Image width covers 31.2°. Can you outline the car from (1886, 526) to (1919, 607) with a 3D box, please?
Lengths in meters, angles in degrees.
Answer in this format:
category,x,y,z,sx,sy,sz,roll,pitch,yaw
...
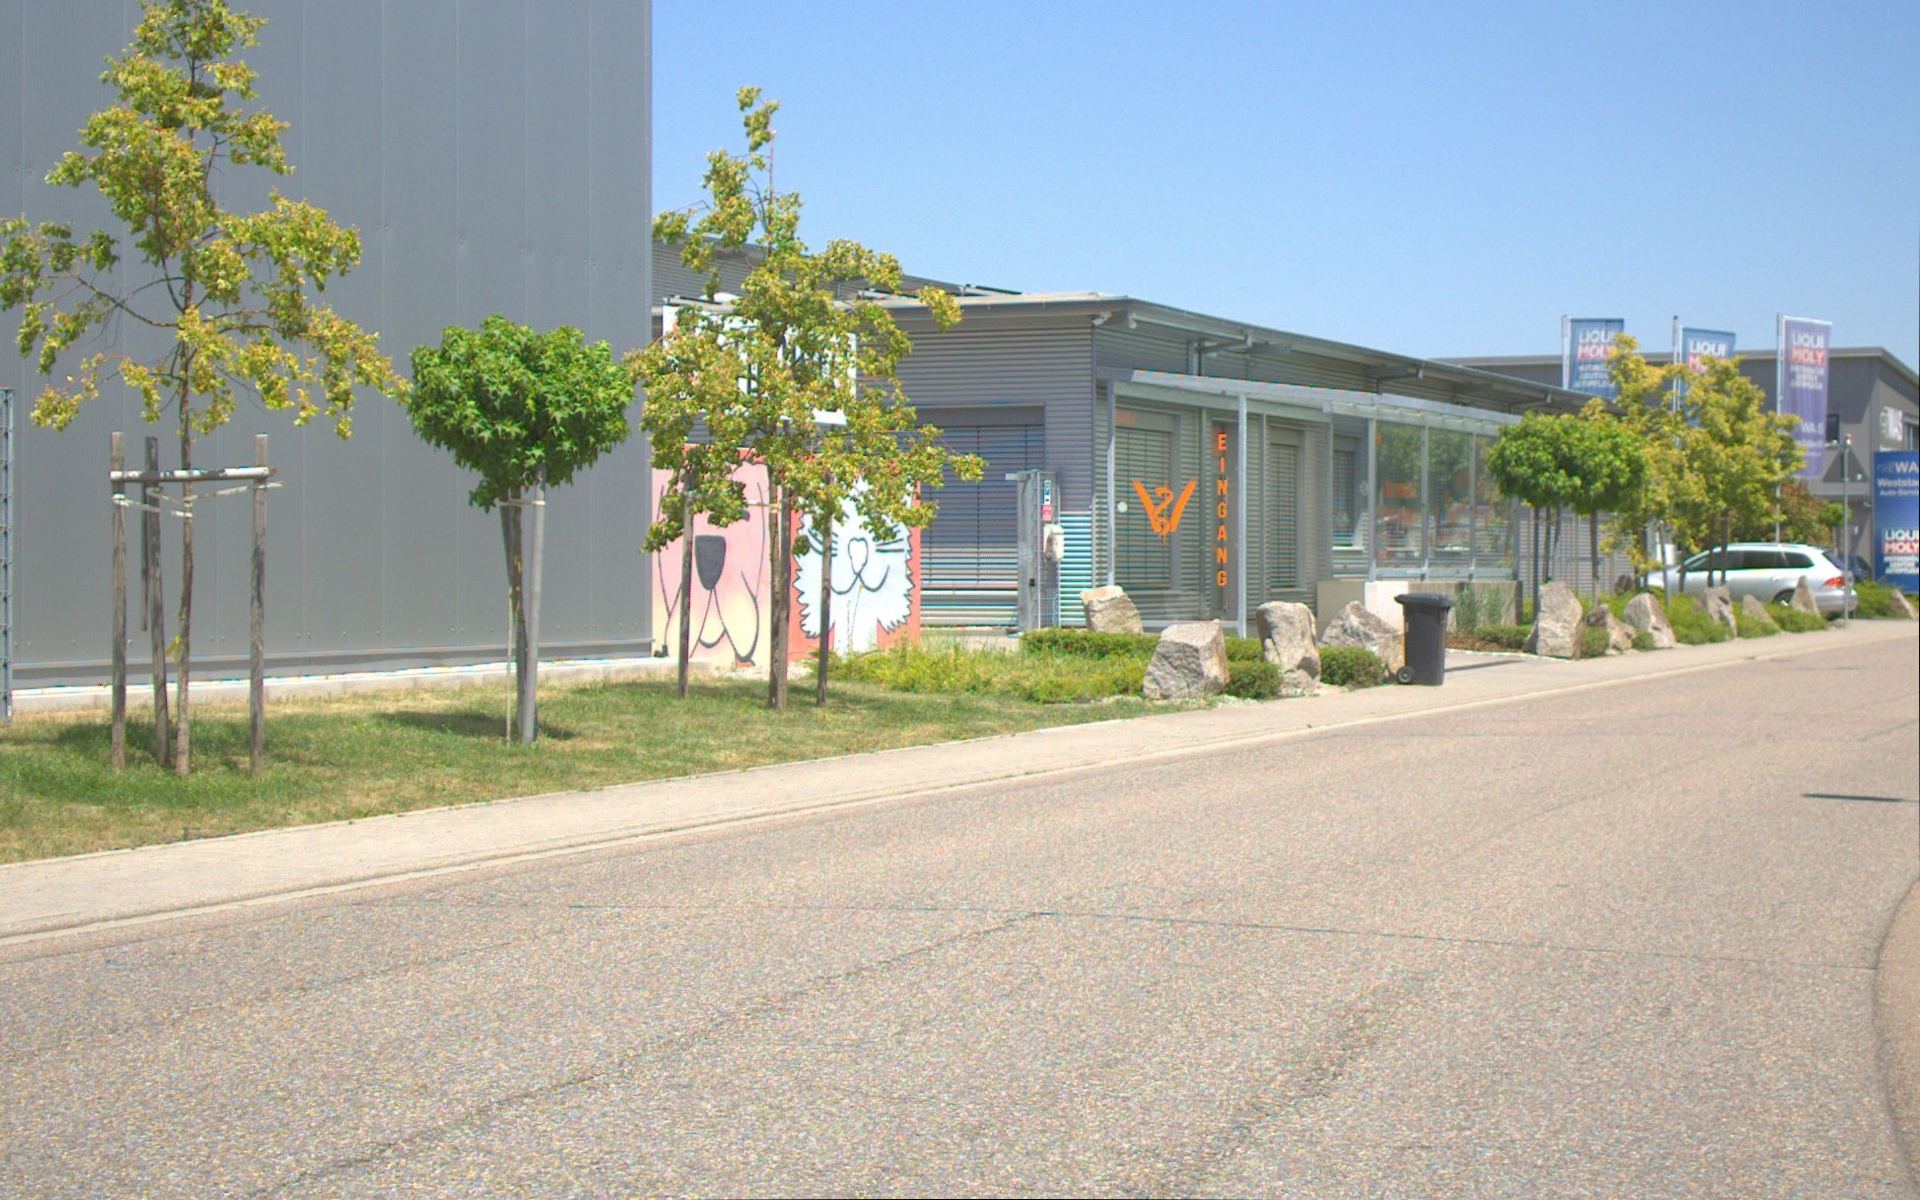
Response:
category,x,y,z,sx,sy,sz,roll,pitch,yaw
car,24.439,-0.806,85.494,1.996,1.950,5.212,1,1,23

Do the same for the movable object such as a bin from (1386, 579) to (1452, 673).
category,x,y,z,sx,sy,sz,roll,pitch,yaw
movable object such as a bin,4.717,0.264,35.319,0.571,0.946,0.511,1,1,18

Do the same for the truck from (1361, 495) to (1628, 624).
category,x,y,z,sx,sy,sz,roll,pitch,yaw
truck,15.457,-1.230,100.028,2.579,3.544,8.062,0,2,-38

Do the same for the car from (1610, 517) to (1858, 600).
category,x,y,z,sx,sy,sz,roll,pitch,yaw
car,14.520,-0.783,64.482,4.267,1.513,1.864,1,1,22

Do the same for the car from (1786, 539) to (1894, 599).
category,x,y,z,sx,sy,sz,roll,pitch,yaw
car,22.421,-0.788,87.489,1.934,1.411,4.763,2,1,23
